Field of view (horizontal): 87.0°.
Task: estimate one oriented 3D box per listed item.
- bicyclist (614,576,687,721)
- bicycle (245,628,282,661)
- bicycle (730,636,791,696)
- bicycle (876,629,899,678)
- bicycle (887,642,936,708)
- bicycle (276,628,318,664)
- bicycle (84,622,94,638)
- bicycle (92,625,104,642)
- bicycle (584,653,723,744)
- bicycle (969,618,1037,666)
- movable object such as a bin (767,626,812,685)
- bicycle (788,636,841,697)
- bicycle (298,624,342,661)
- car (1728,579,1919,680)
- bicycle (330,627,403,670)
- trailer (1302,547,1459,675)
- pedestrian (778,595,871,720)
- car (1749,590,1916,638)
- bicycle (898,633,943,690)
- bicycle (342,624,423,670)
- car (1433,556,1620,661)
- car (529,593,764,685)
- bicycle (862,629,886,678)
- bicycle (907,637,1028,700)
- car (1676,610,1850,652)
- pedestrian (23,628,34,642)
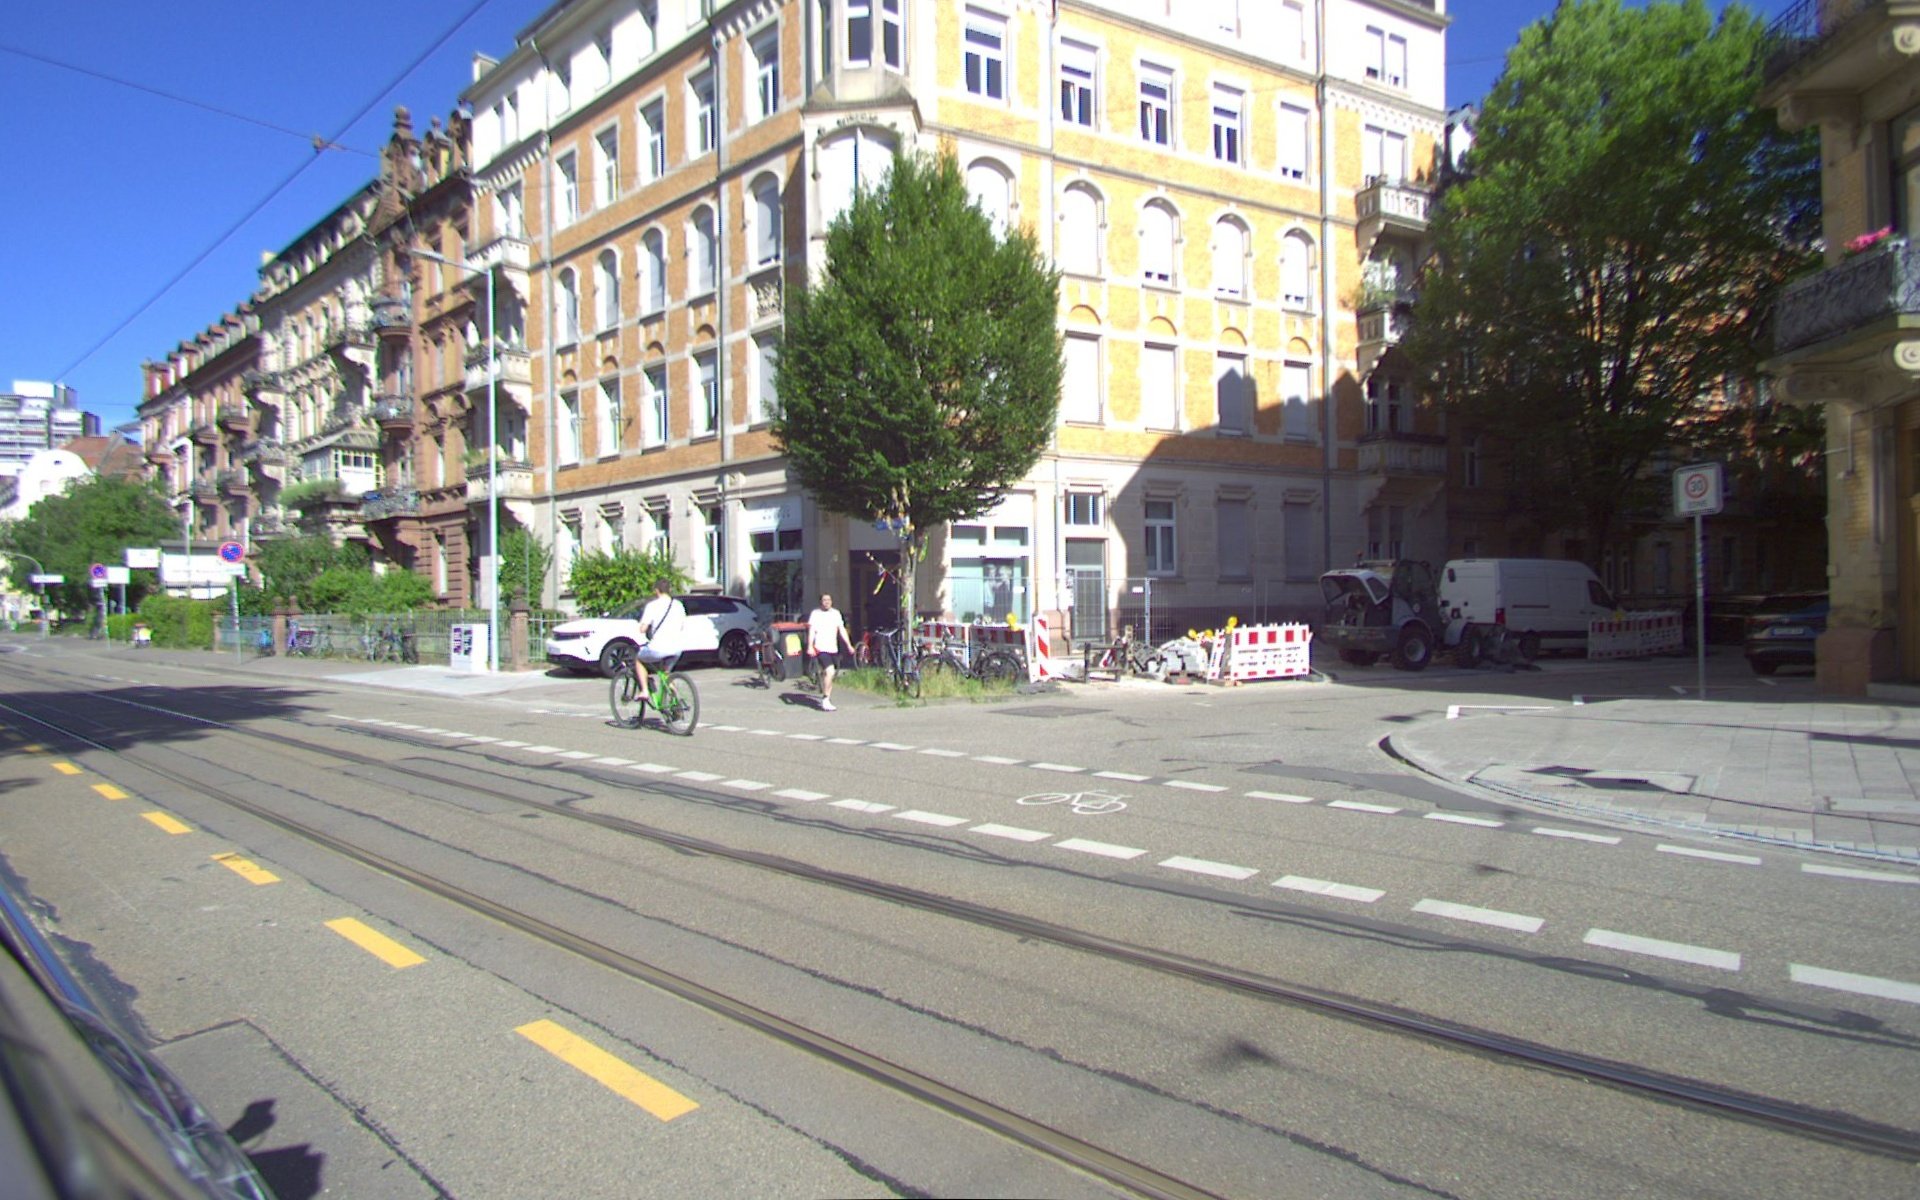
[{"bbox_3d":[-3.613,0.558,11.805,0.744,1.631,0.459,-2,-3,41],"label":"bicyclist"},{"bbox_3d":[-22.948,1.478,33.319,1.767,1.041,0.557,-3,0,41],"label":"bicycle"},{"bbox_3d":[-3.533,1.156,18.090,0.613,0.921,1.786,0,1,5],"label":"bicycle"},{"bbox_3d":[-1.506,1.086,21.050,0.244,0.921,1.540,0,1,5],"label":"bicycle"},{"bbox_3d":[-0.744,1.158,15.875,0.613,0.921,1.293,0,1,5],"label":"bicycle"},{"bbox_3d":[-20.211,1.396,30.832,1.766,1.041,0.557,-2,1,40],"label":"bicycle"},{"bbox_3d":[-53.069,1.842,61.648,0.338,0.933,1.944,-2,1,-45],"label":"bicycle"},{"bbox_3d":[-50.043,1.929,58.741,0.338,0.933,1.944,-2,1,-45],"label":"bicycle"},{"bbox_3d":[-3.602,1.109,11.768,2.201,0.933,0.455,-2,-2,41],"label":"bicycle"},{"bbox_3d":[1.034,1.004,24.311,1.576,1.045,0.407,-2,-1,-24],"label":"bicycle"},{"bbox_3d":[-3.298,1.054,19.546,0.569,1.079,0.718,-2,1,-36],"label":"movable object such as a bin"},{"bbox_3d":[-2.460,1.112,17.222,0.613,0.921,1.293,0,1,5],"label":"bicycle"},{"bbox_3d":[-18.757,1.238,29.658,1.766,1.041,0.557,-2,1,40],"label":"bicycle"},{"bbox_3d":[17.347,0.566,20.104,3.529,1.763,1.845,-2,-3,-27],"label":"car"},{"bbox_3d":[-15.859,1.300,27.040,1.752,1.041,0.562,-3,3,17],"label":"bicycle"},{"bbox_3d":[9.482,0.251,22.855,2.878,2.716,1.834,1,-1,-26],"label":"trailer"},{"bbox_3d":[-1.997,0.809,14.872,1.082,1.736,0.820,0,1,43],"label":"pedestrian"},{"bbox_3d":[29.385,0.477,34.210,1.555,1.507,4.010,2,-2,-34],"label":"car"},{"bbox_3d":[-0.722,1.086,18.148,0.611,0.921,1.298,0,1,-11],"label":"bicycle"},{"bbox_3d":[-14.700,1.195,25.791,1.745,1.041,0.564,-3,0,5],"label":"bicycle"},{"bbox_3d":[15.051,0.139,26.900,4.556,2.521,2.007,-2,3,-24],"label":"car"},{"bbox_3d":[-6.609,0.743,21.672,1.967,1.656,4.397,-1,1,43],"label":"car"},{"bbox_3d":[-1.780,1.097,21.092,0.244,0.921,1.540,0,1,5],"label":"bicycle"},{"bbox_3d":[0.143,1.141,16.912,1.963,0.983,0.579,-1,1,6],"label":"bicycle"},{"bbox_3d":[25.215,0.953,31.918,1.555,1.222,4.010,2,-2,-34],"label":"car"},{"bbox_3d":[-89.886,3.394,97.660,0.724,1.291,0.650,-2,1,41],"label":"pedestrian"}]
